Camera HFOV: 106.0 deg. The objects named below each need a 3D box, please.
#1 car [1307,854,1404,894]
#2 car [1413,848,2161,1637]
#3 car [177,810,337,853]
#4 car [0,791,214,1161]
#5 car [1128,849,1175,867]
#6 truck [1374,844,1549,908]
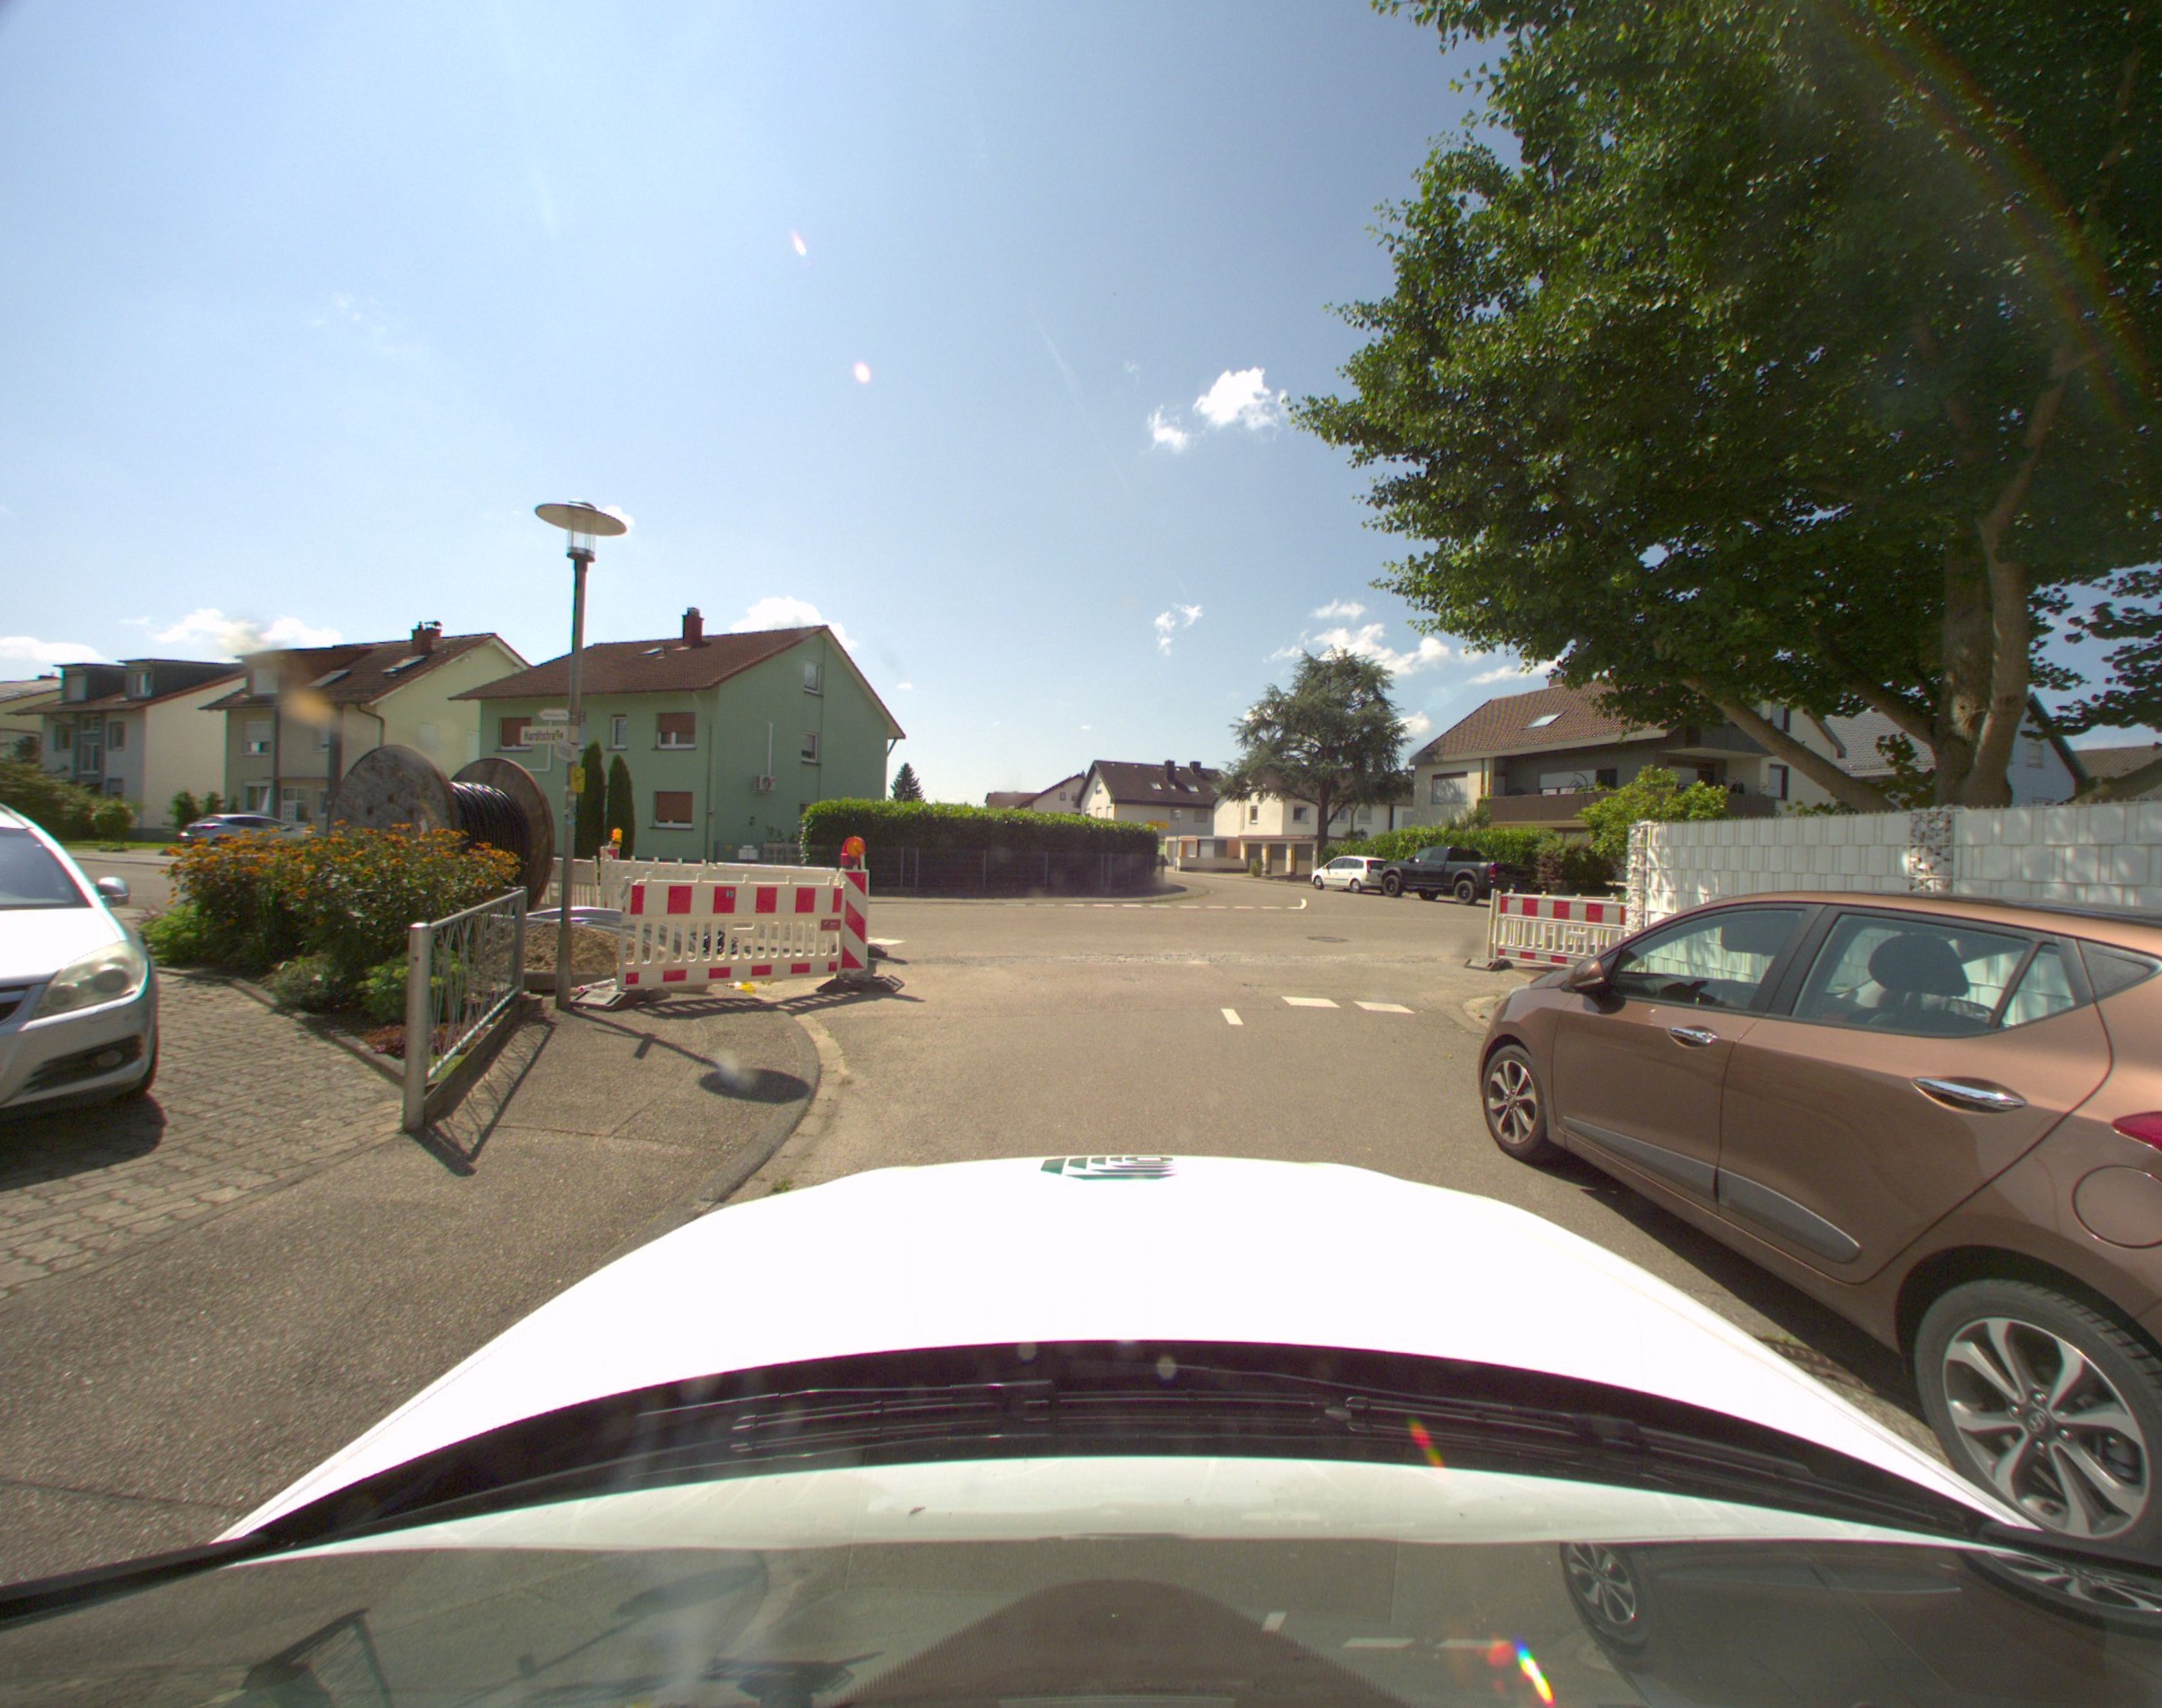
[{"bbox_3d":[12.031,0.836,35.960,1.804,1.563,4.115,2,1,-21],"label":"car"},{"bbox_3d":[3.057,0.824,3.356,1.706,1.532,4.037,5,0,1],"label":"car"},{"bbox_3d":[-31.733,-0.847,31.499,1.753,1.509,3.947,2,1,21],"label":"car"},{"bbox_3d":[-6.325,0.417,4.241,4.416,1.485,1.803,2,0,35],"label":"car"},{"bbox_3d":[5.976,0.338,69.175,3.610,1.408,1.773,2,0,-19],"label":"car"},{"bbox_3d":[13.634,0.710,29.712,2.373,2.013,5.671,2,0,-22],"label":"truck"}]
